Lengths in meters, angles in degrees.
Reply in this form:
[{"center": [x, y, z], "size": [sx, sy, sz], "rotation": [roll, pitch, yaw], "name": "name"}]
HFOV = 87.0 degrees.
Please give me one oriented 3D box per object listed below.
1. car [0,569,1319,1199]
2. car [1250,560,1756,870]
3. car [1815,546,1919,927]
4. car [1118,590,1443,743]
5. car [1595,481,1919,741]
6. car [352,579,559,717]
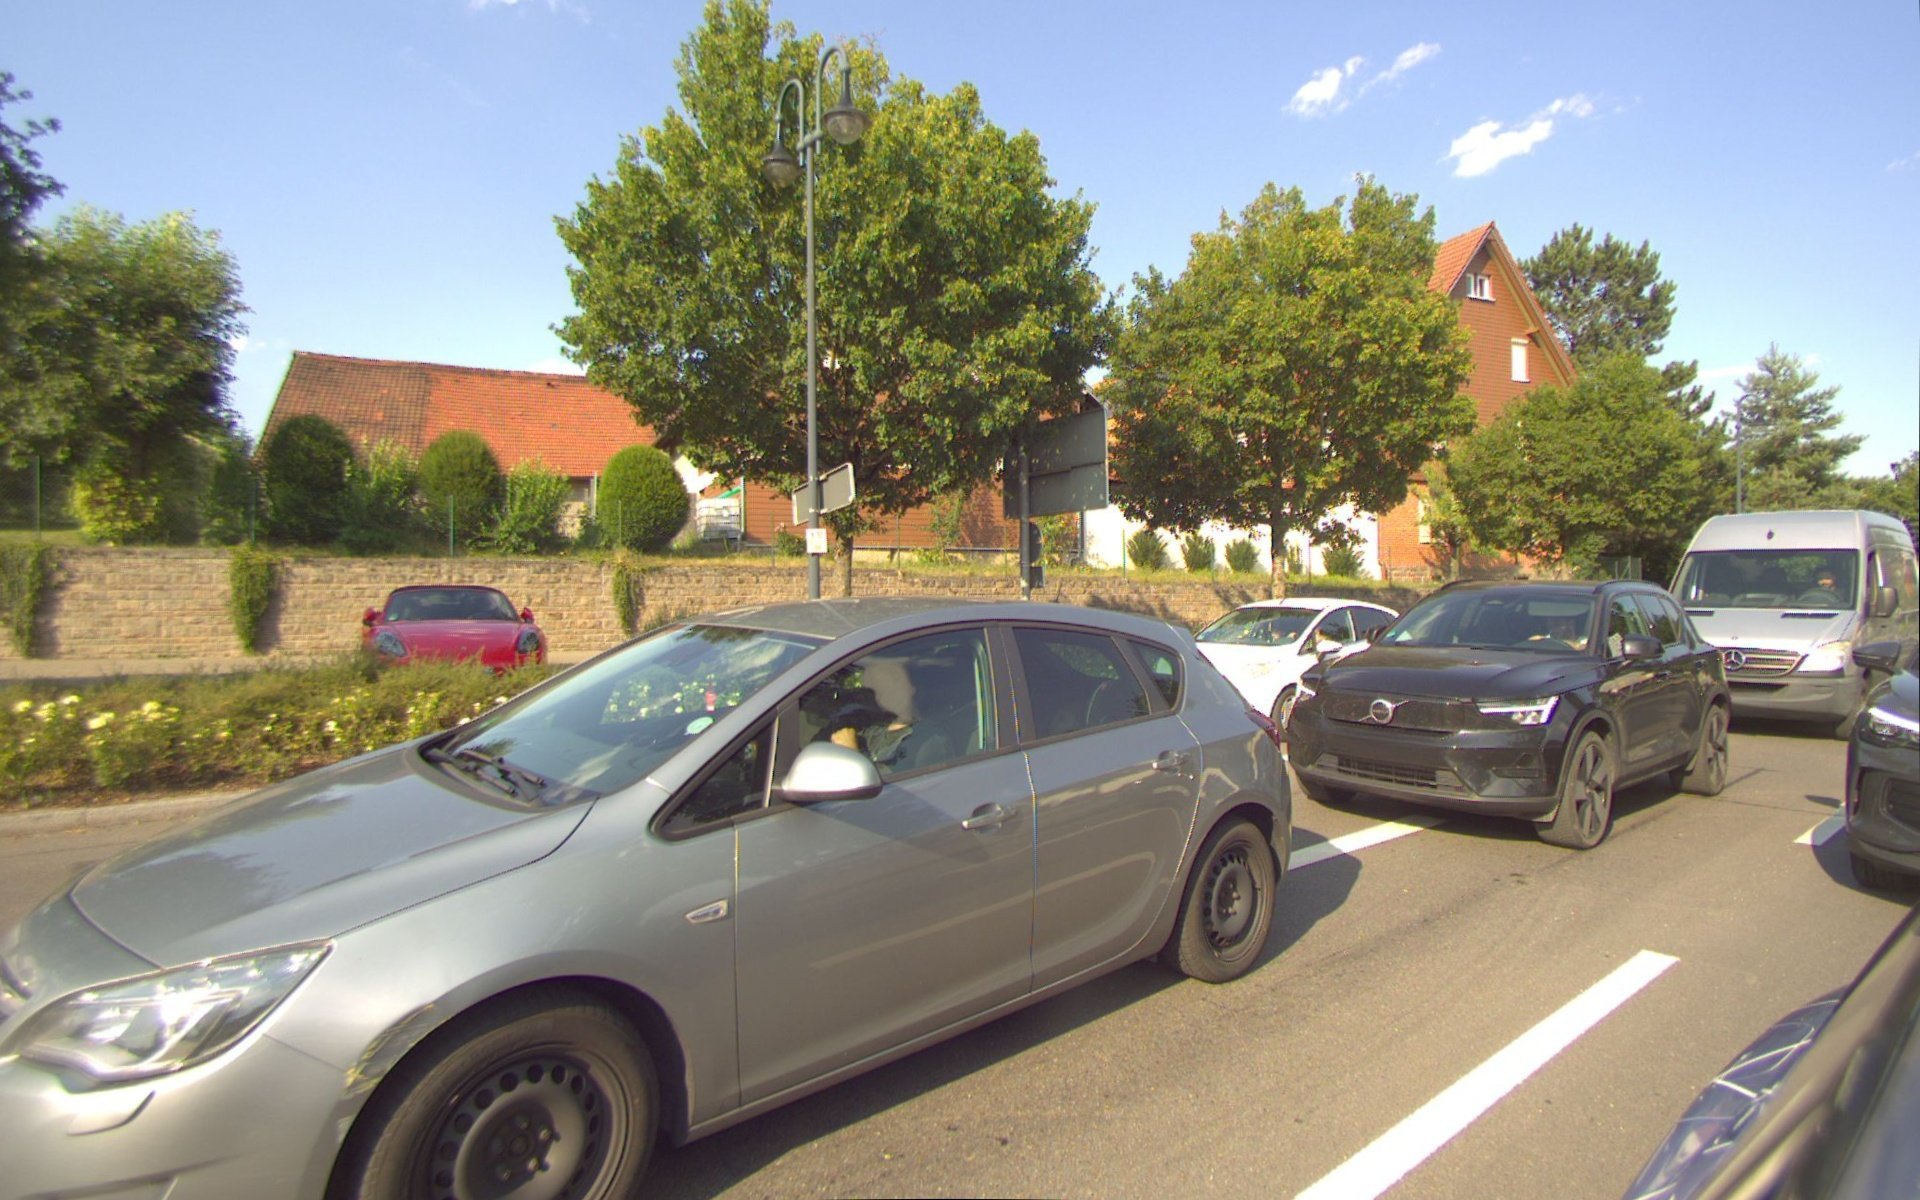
[{"center": [-0.617, 0.669, 3.485], "size": [4.095, 1.460, 1.746], "rotation": [0, 0, -41], "name": "car"}, {"center": [4.090, 0.590, 7.352], "size": [4.054, 1.629, 1.885], "rotation": [0, 0, -40], "name": "car"}, {"center": [6.374, 0.594, 5.508], "size": [4.646, 1.677, 1.893], "rotation": [0, 0, -40], "name": "car"}, {"center": [3.797, 0.624, 11.678], "size": [3.996, 1.469, 1.732], "rotation": [0, 0, -40], "name": "car"}, {"center": [10.524, 0.093, 12.919], "size": [6.082, 2.579, 2.369], "rotation": [0, 0, -40], "name": "car"}, {"center": [-5.829, 0.440, 11.706], "size": [1.816, 1.288, 4.005], "rotation": [0, 0, -28], "name": "car"}]
